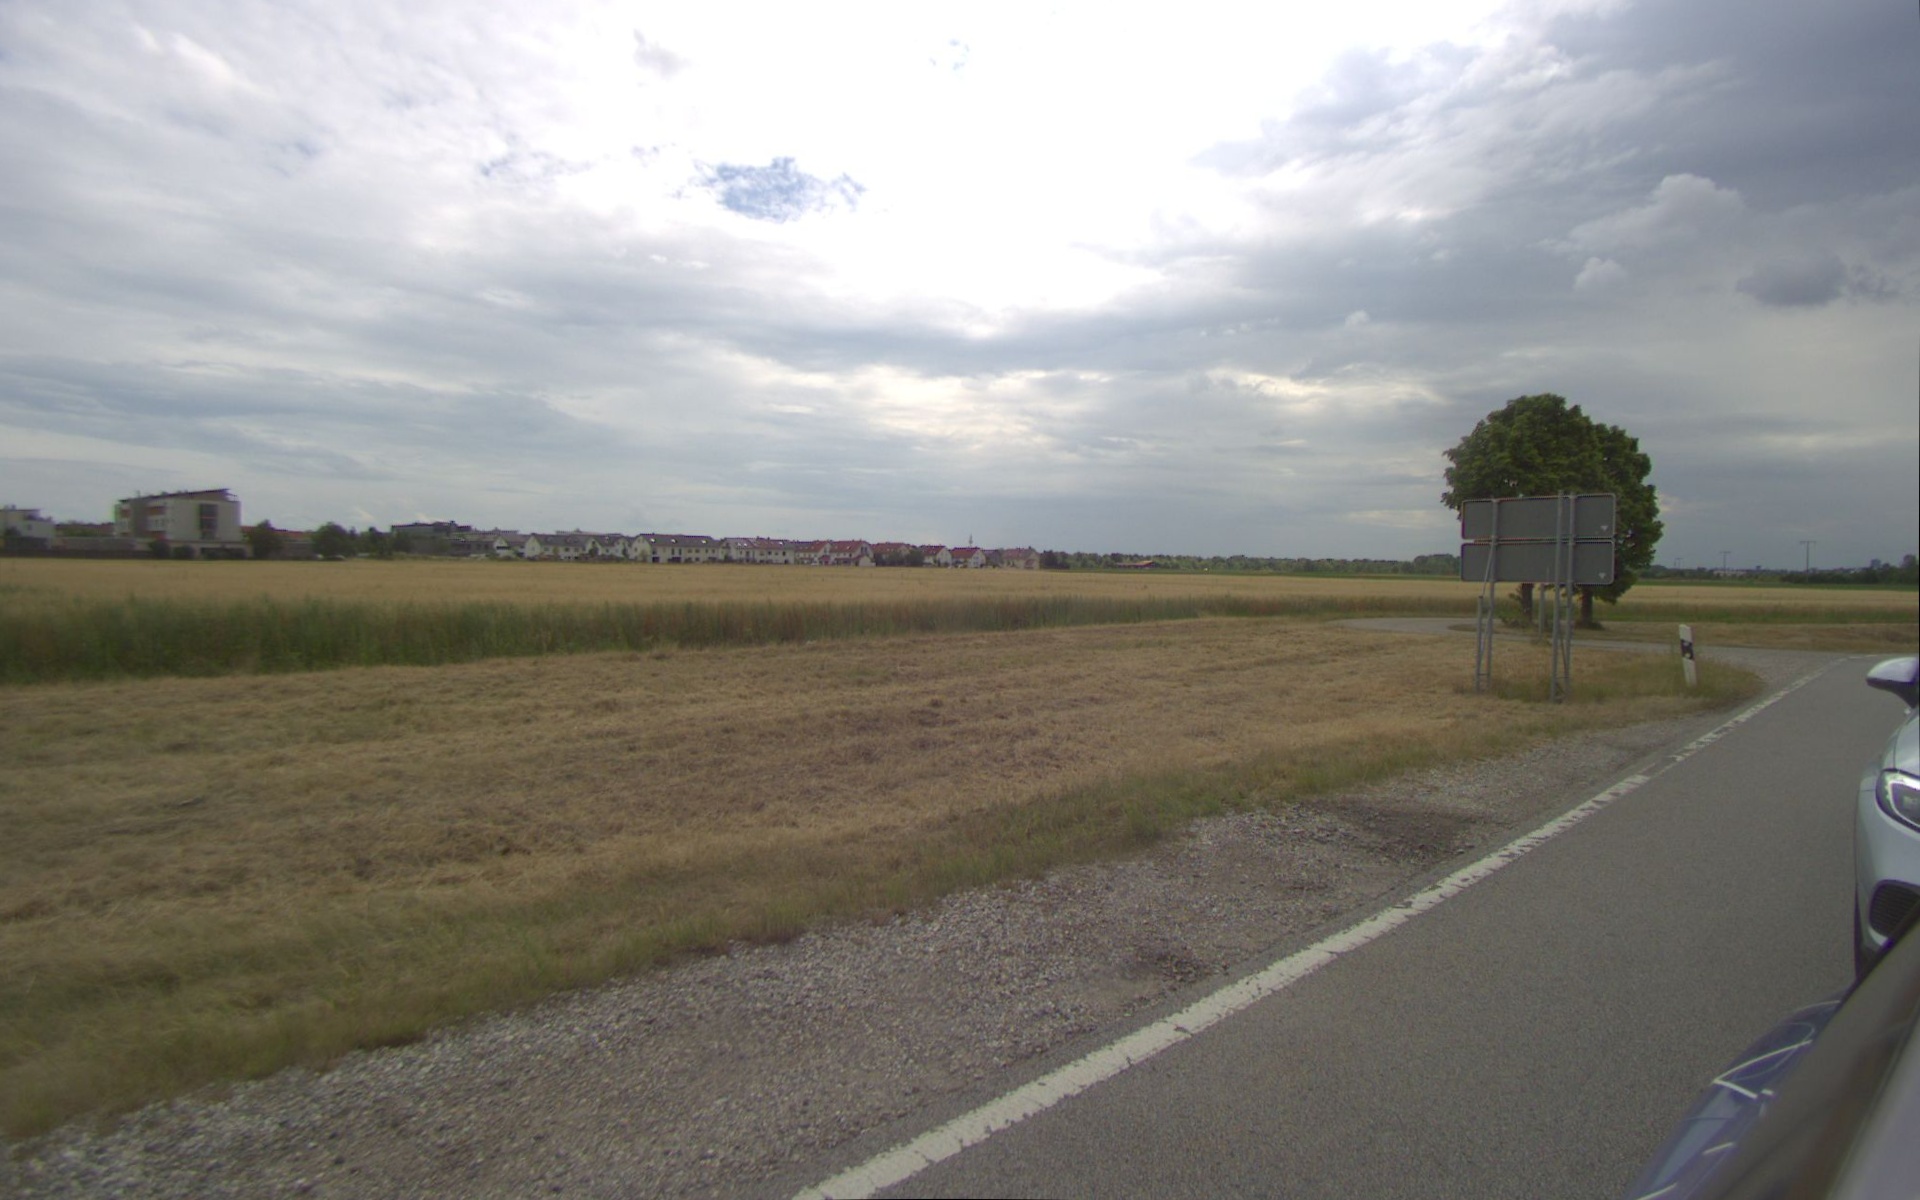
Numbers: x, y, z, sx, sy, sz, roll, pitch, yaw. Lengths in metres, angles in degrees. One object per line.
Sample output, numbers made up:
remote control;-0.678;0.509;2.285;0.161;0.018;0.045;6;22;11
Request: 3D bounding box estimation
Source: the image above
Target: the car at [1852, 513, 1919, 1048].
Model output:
car;4.999;0.552;3.970;4.376;1.606;1.834;-1;3;-44
